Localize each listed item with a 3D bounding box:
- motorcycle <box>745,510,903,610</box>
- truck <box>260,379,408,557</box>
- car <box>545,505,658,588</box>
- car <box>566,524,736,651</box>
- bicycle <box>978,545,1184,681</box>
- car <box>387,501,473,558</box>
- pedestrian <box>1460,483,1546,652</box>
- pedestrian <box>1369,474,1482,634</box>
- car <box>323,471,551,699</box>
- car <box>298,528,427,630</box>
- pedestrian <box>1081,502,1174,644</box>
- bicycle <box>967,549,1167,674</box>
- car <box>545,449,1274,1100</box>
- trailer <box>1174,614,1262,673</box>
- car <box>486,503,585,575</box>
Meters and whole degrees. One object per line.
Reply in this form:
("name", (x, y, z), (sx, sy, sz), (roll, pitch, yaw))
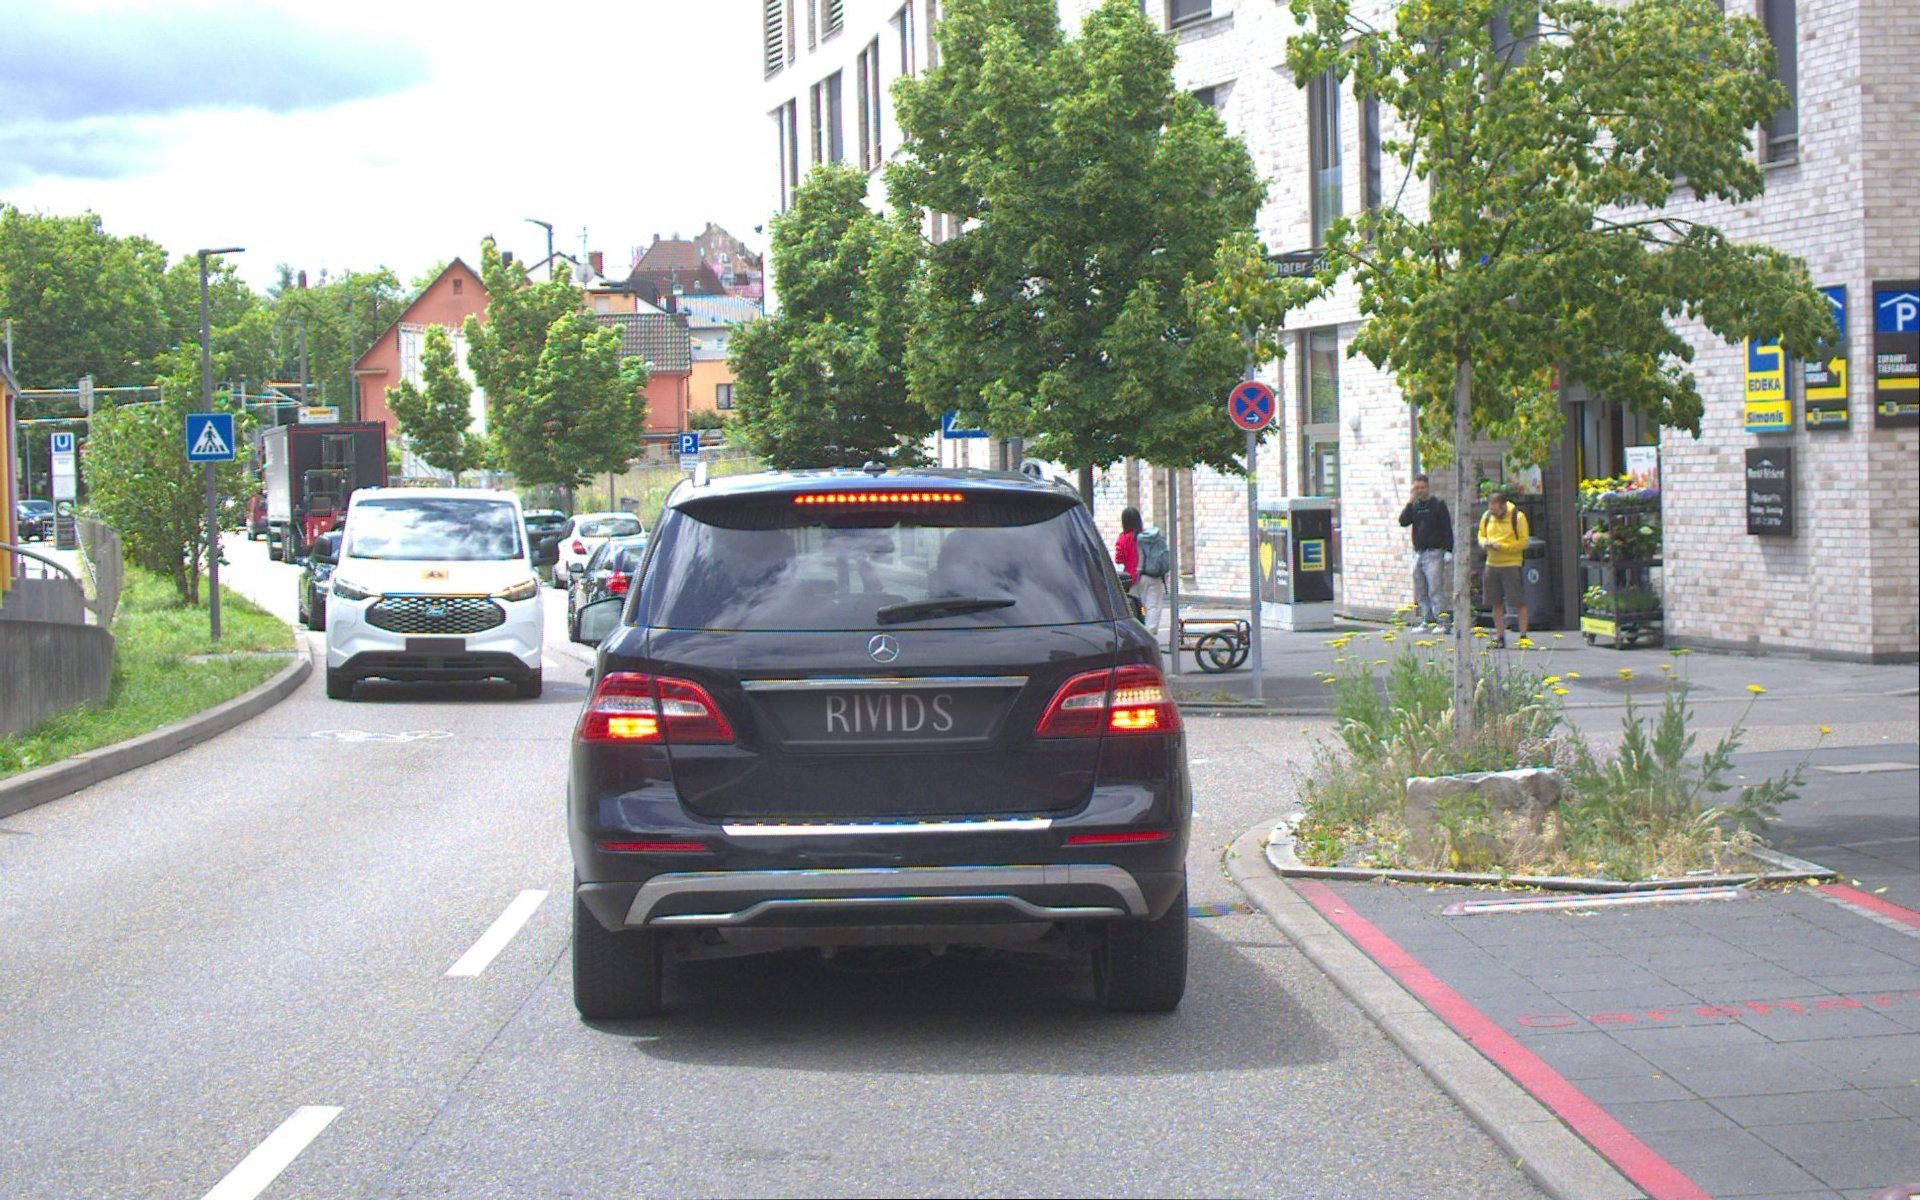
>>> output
("motorcycle", (-1.869, -0.554, 47.375), (2.050, 1.261, 0.673), (-3, 1, 4))
("truck", (-16.982, -3.466, 92.825), (3.202, 4.520, 9.031), (-1, 1, -15))
("car", (-7.069, -1.077, 67.529), (1.692, 1.478, 3.799), (-3, 3, -13))
("car", (-4.082, -0.201, 44.997), (1.726, 1.451, 3.810), (-2, 3, -12))
("bicycle", (1.150, 0.113, 32.863), (1.822, 1.196, 0.756), (-3, 1, -7))
("car", (-15.029, -2.011, 97.325), (1.781, 1.446, 4.478), (-4, 3, -16))
("pedestrian", (5.524, -0.334, 34.978), (0.658, 1.686, 0.631), (-1, 2, 26))
("pedestrian", (5.182, -0.515, 38.318), (1.014, 1.735, 0.660), (-2, 1, -17))
("car", (-5.046, -0.186, 33.210), (1.993, 2.007, 5.396), (0, 1, -9))
("car", (-9.058, -0.348, 51.902), (1.772, 1.459, 4.236), (0, 1, -12))
("pedestrian", (1.854, -0.298, 38.224), (0.812, 1.560, 0.930), (0, 0, -12))
("bicycle", (1.041, 0.103, 33.687), (1.822, 1.127, 0.756), (-3, 1, -7))
("car", (-0.364, 0.430, 12.009), (1.993, 1.740, 4.533), (-3, 2, -6))
("trailer", (2.462, 0.409, 32.832), (0.719, 0.526, 0.811), (-1, 1, -4))
("car", (-9.484, -1.384, 76.652), (1.692, 1.456, 4.148), (-3, 3, -13))
